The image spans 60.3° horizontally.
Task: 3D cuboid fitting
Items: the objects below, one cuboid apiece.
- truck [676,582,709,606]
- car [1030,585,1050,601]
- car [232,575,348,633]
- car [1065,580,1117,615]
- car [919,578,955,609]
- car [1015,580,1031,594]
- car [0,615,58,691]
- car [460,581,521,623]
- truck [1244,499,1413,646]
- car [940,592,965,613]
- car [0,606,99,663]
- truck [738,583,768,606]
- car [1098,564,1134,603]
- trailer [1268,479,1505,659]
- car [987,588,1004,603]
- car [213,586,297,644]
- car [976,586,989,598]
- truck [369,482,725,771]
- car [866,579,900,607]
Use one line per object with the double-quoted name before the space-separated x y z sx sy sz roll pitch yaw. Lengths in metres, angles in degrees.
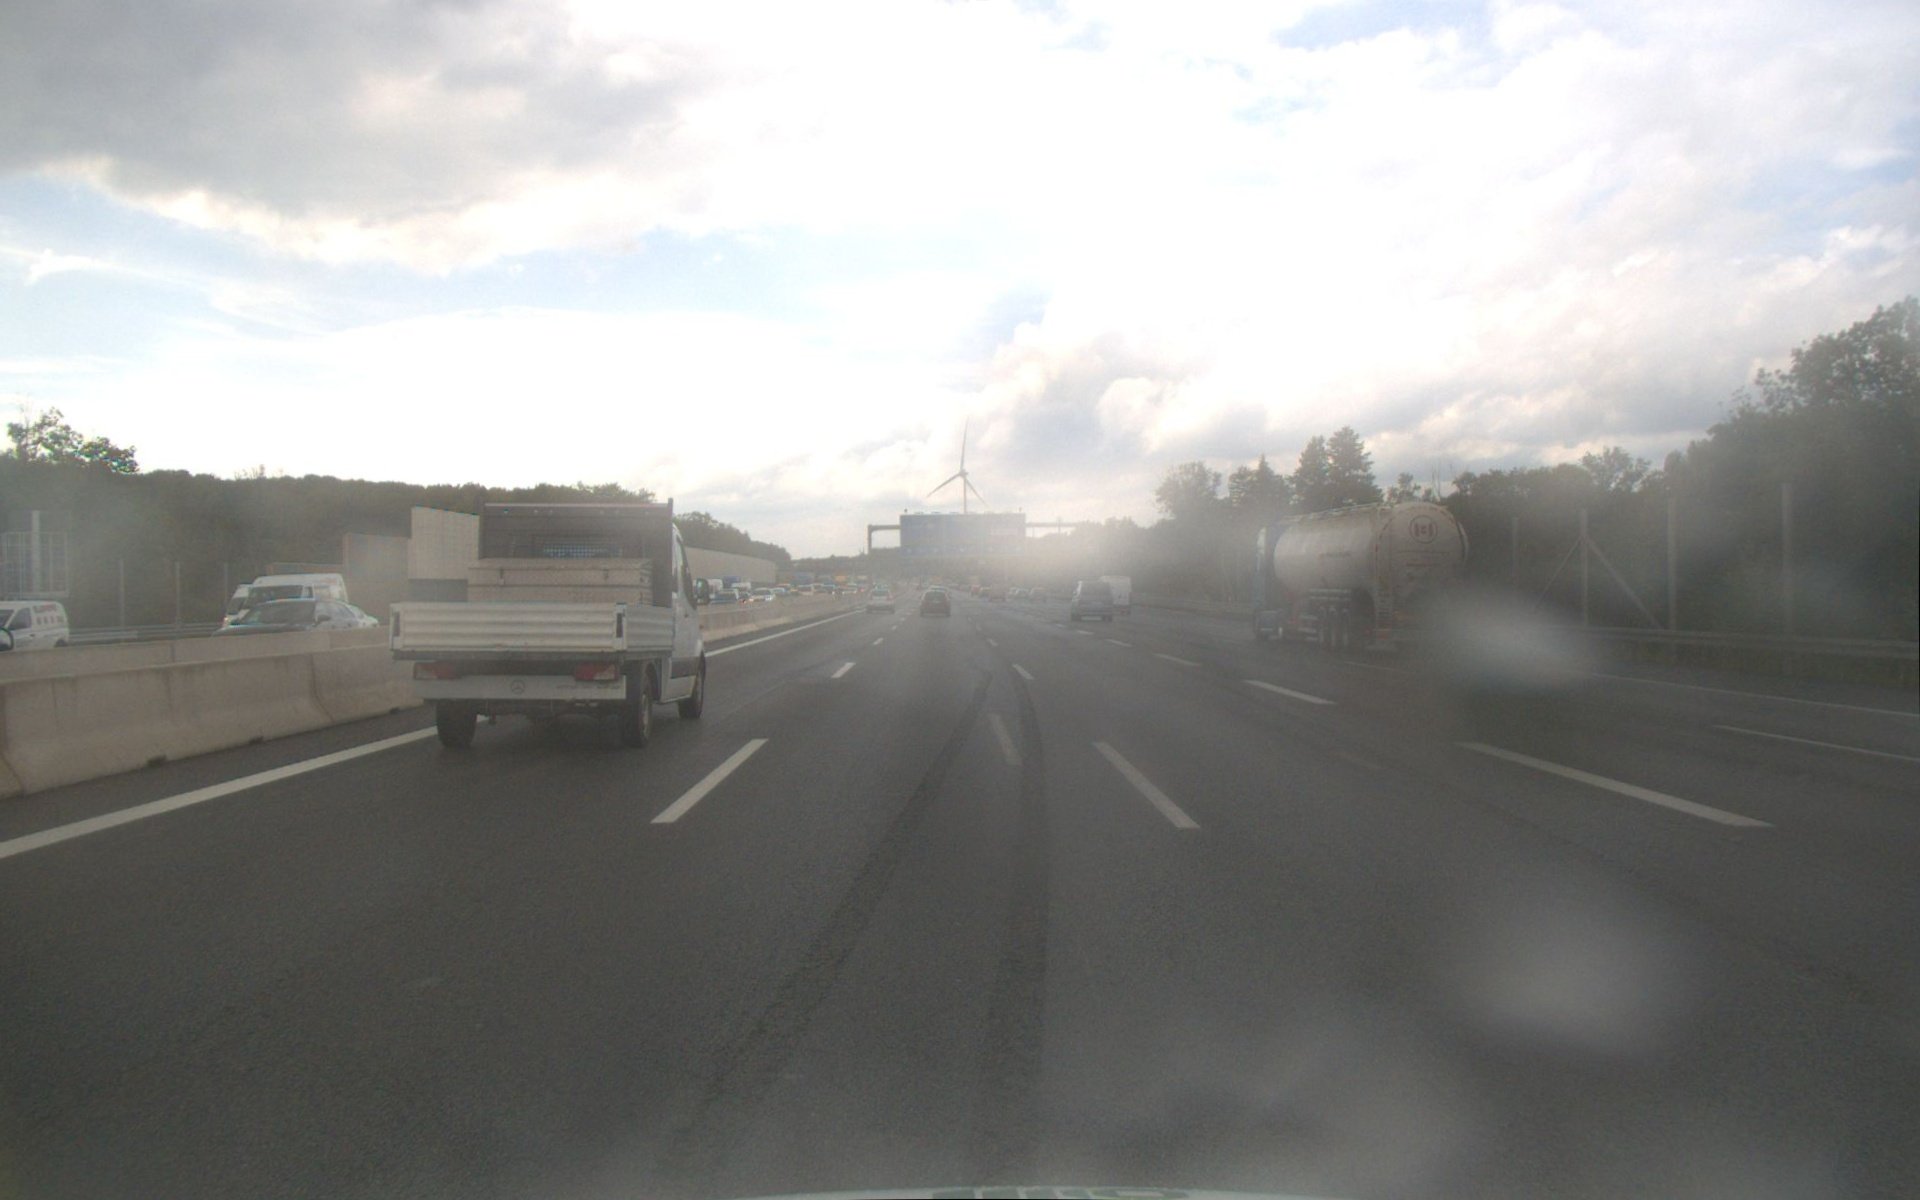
"truck" -20.234 -0.448 125.285 1.954 1.738 4.311 0 0 -3
"car" 9.127 -0.767 189.379 1.953 1.780 4.496 0 0 -1
"car" -22.084 0.098 54.718 1.832 1.829 5.032 0 0 -1
"car" 6.663 -0.157 84.304 2.056 1.729 3.997 0 1 -4
"car" -1.343 -0.392 94.326 2.004 1.729 3.999 0 1 -1
"car" 8.402 -1.751 222.536 2.003 1.729 4.000 0 1 0
"car" -21.125 1.138 34.251 1.875 1.571 5.614 0 0 -1
"car" -23.441 0.085 82.656 1.953 2.049 3.999 0 0 -1
"truck" 11.192 -0.836 51.236 3.265 4.151 8.270 1 1 -1
"car" -0.580 0.204 126.057 1.819 1.574 3.999 0 0 -1
"car" -25.342 0.902 44.913 1.832 1.442 4.037 0 0 -1
"truck" -16.103 -0.446 128.904 1.954 1.738 4.311 0 0 -3
"car" 10.363 -1.084 110.087 2.004 2.541 3.999 0 1 -1
"trailer" 11.267 -0.811 45.309 3.265 4.248 11.837 1 1 -1
"car" 4.214 -0.506 196.459 2.003 1.729 4.000 0 1 0
"car" -30.405 0.614 71.459 1.835 2.408 4.321 0 0 -1
"car" 3.288 -1.194 244.177 1.830 1.758 3.999 0 0 -1
"truck" -4.043 0.170 17.803 2.306 2.450 7.354 1 1 -3
"car" -4.842 -0.447 104.039 2.004 1.729 3.999 0 1 -1
